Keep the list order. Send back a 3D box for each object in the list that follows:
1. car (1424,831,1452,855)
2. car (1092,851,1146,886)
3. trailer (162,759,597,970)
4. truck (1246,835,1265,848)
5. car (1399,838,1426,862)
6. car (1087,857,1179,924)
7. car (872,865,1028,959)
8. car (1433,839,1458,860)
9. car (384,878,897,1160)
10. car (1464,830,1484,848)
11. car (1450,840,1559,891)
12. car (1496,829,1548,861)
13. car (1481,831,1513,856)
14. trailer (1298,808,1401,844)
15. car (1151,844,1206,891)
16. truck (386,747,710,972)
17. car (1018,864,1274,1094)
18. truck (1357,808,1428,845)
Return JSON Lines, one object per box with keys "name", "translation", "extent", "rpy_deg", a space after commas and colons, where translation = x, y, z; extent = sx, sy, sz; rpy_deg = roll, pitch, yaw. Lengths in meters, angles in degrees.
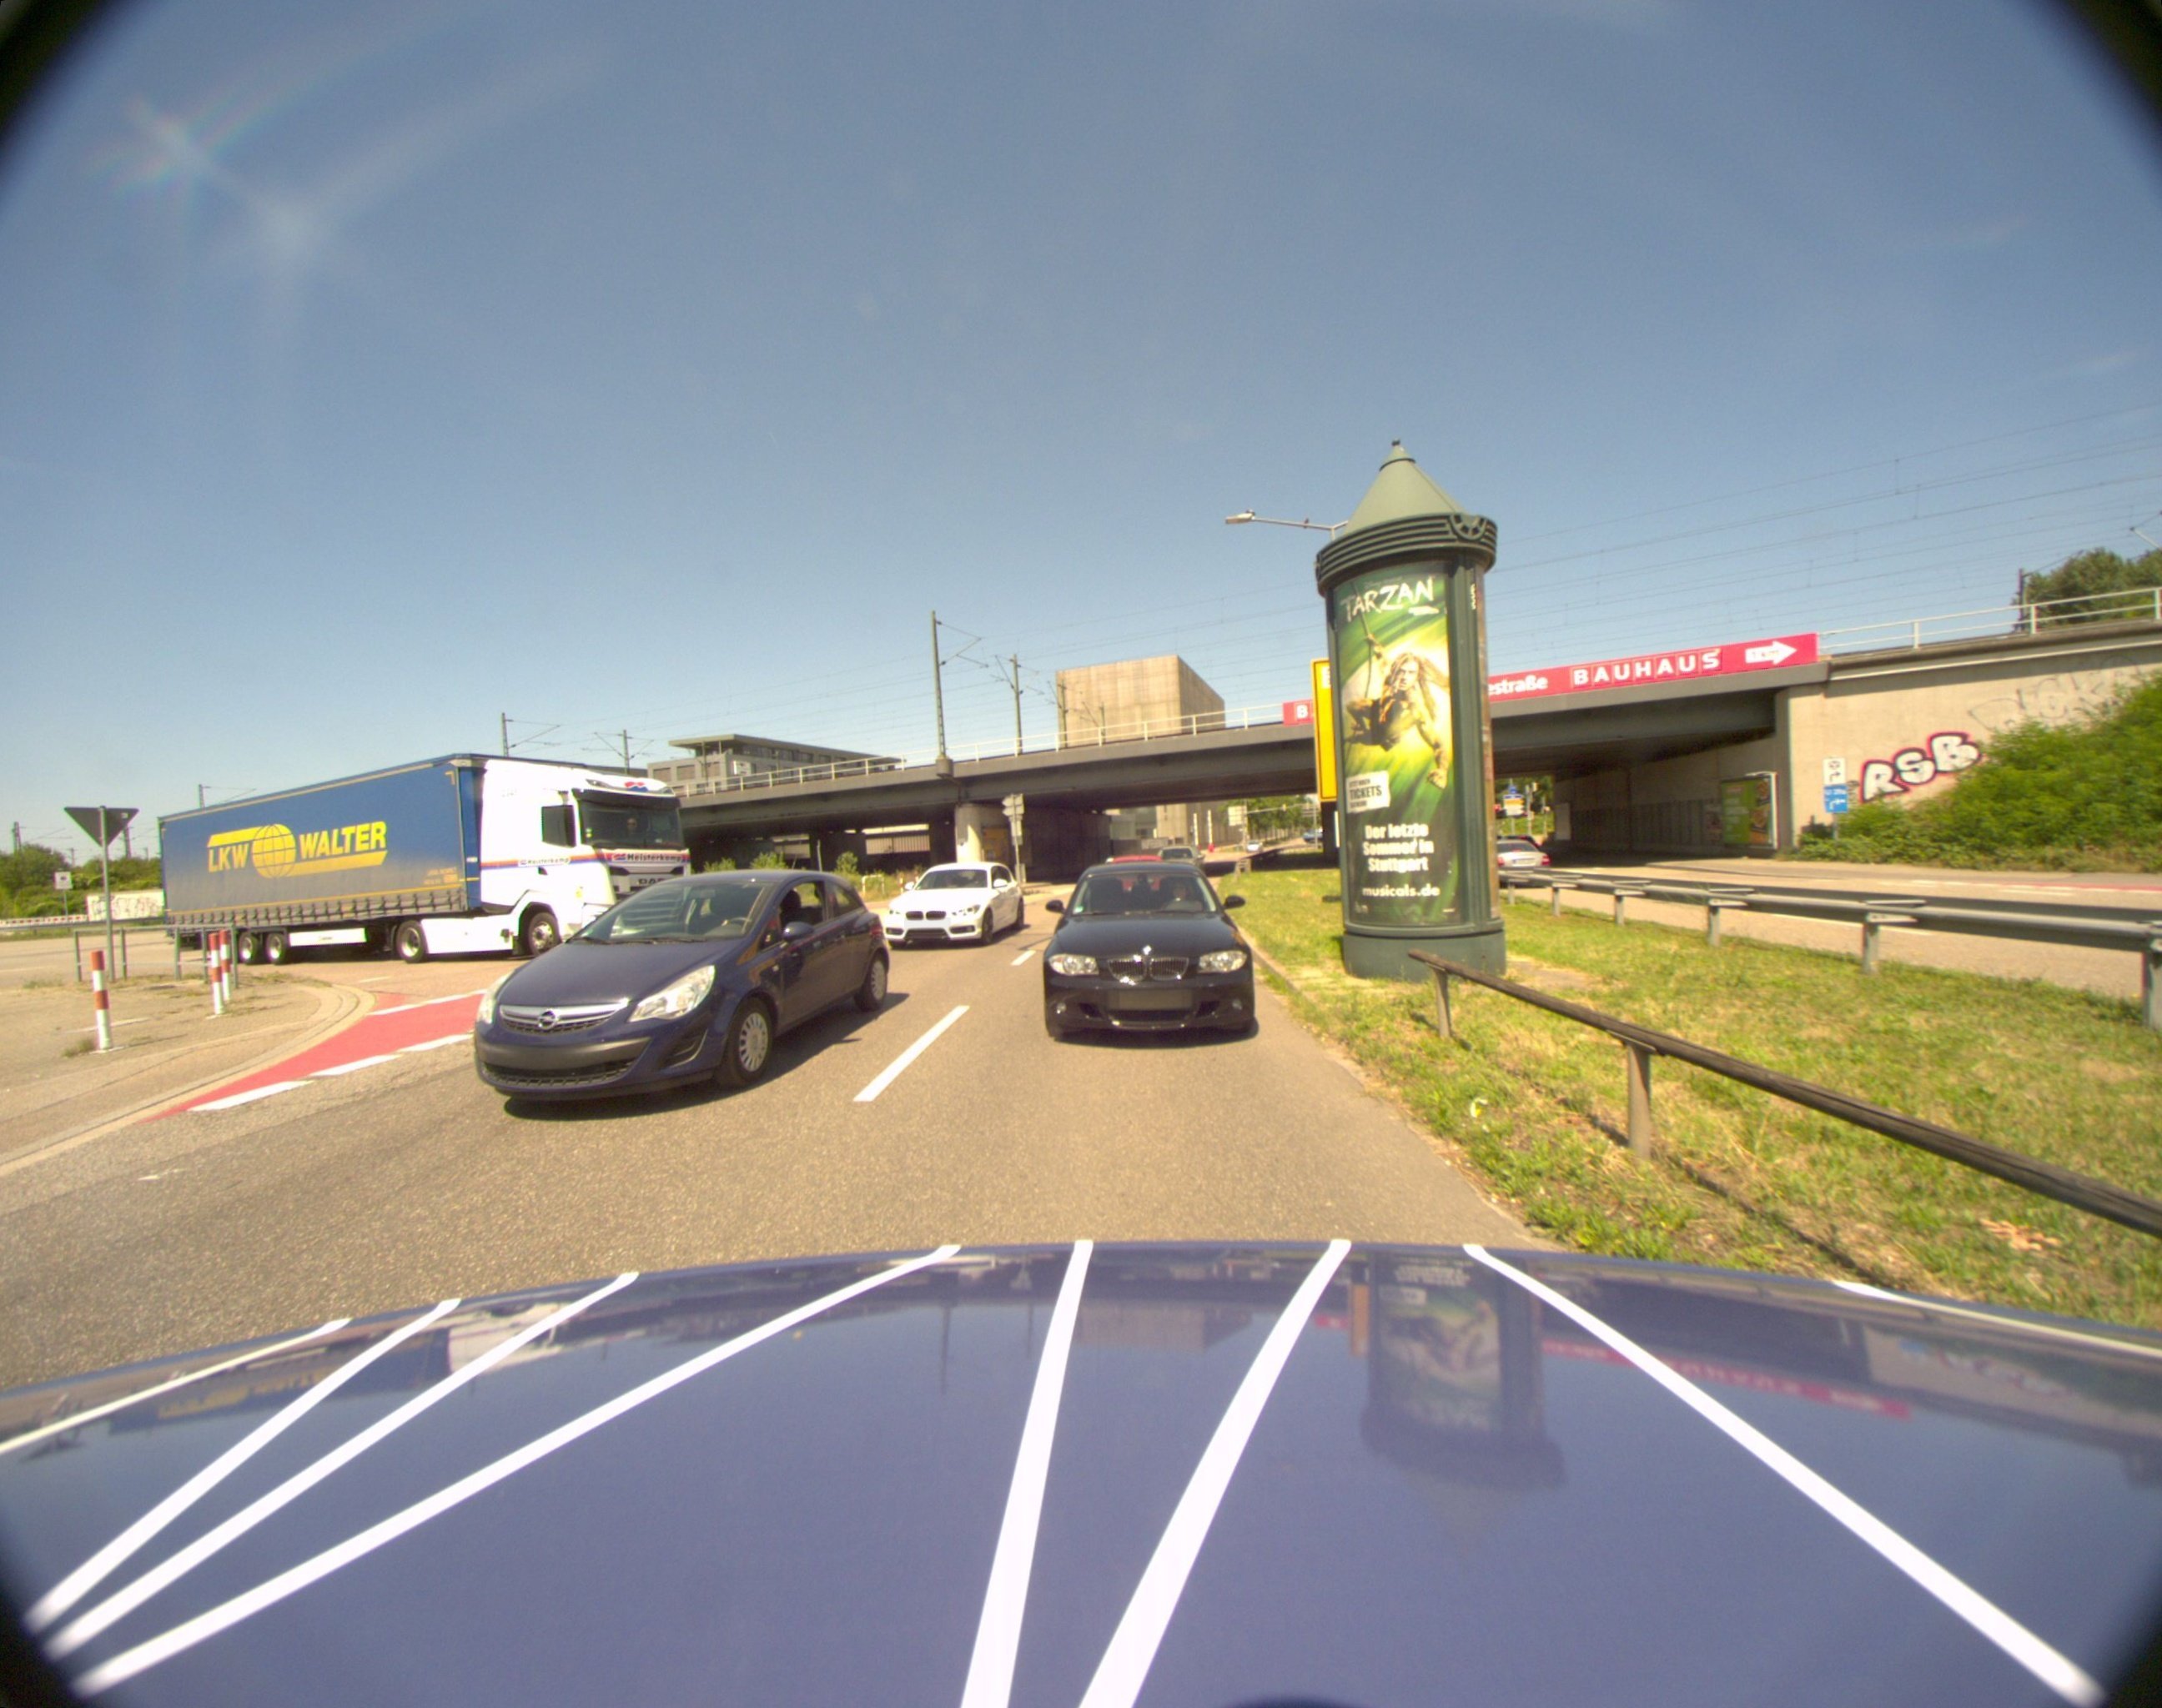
{"name": "car", "translation": [23.950, -0.750, 50.989], "extent": [1.617, 1.468, 3.438], "rpy_deg": [-2, 1, 25]}
{"name": "car", "translation": [1.891, 0.666, 36.470], "extent": [1.715, 1.434, 4.004], "rpy_deg": [-2, 1, 15]}
{"name": "trailer", "translation": [-17.738, 0.515, 18.680], "extent": [13.873, 4.066, 2.504], "rpy_deg": [-3, 1, 25]}
{"name": "truck", "translation": [21.549, -1.519, 93.806], "extent": [1.728, 1.493, 4.005], "rpy_deg": [-2, 1, 21]}
{"name": "car", "translation": [19.735, -0.252, 45.190], "extent": [1.410, 1.311, 3.266], "rpy_deg": [-2, 1, 24]}
{"name": "car", "translation": [1.367, 0.794, 18.319], "extent": [1.645, 1.391, 4.056], "rpy_deg": [-1, 0, 12]}
{"name": "car", "translation": [-2.280, 0.965, 14.330], "extent": [1.761, 1.435, 4.054], "rpy_deg": [-1, 0, 7]}
{"name": "car", "translation": [21.690, -0.291, 45.229], "extent": [1.269, 1.178, 2.782], "rpy_deg": [-2, 1, 25]}
{"name": "car", "translation": [-2.971, 1.002, 6.218], "extent": [1.650, 1.435, 3.892], "rpy_deg": [-2, 0, 4]}
{"name": "car", "translation": [28.660, -1.101, 55.454], "extent": [1.183, 1.241, 2.696], "rpy_deg": [-2, 1, 25]}
{"name": "car", "translation": [12.770, 0.295, 23.200], "extent": [1.637, 1.395, 4.224], "rpy_deg": [-1, 1, 11]}
{"name": "car", "translation": [25.185, -0.526, 43.540], "extent": [1.774, 1.658, 4.020], "rpy_deg": [-2, 1, 19]}
{"name": "car", "translation": [26.965, -0.694, 49.344], "extent": [1.571, 1.494, 3.412], "rpy_deg": [-2, 1, 25]}
{"name": "trailer", "translation": [29.156, -2.979, 83.613], "extent": [2.967, 3.354, 13.873], "rpy_deg": [-3, 1, -17]}
{"name": "car", "translation": [3.955, 0.485, 30.309], "extent": [1.844, 1.686, 3.702], "rpy_deg": [-2, 1, 12]}
{"name": "truck", "translation": [-11.144, 0.176, 15.964], "extent": [5.749, 4.078, 2.579], "rpy_deg": [-2, 1, 20]}
{"name": "car", "translation": [0.578, 0.889, 7.190], "extent": [1.681, 1.409, 4.057], "rpy_deg": [-2, 1, 4]}
{"name": "truck", "translation": [31.476, -2.758, 77.085], "extent": [3.025, 3.397, 6.555], "rpy_deg": [-3, 1, -19]}
